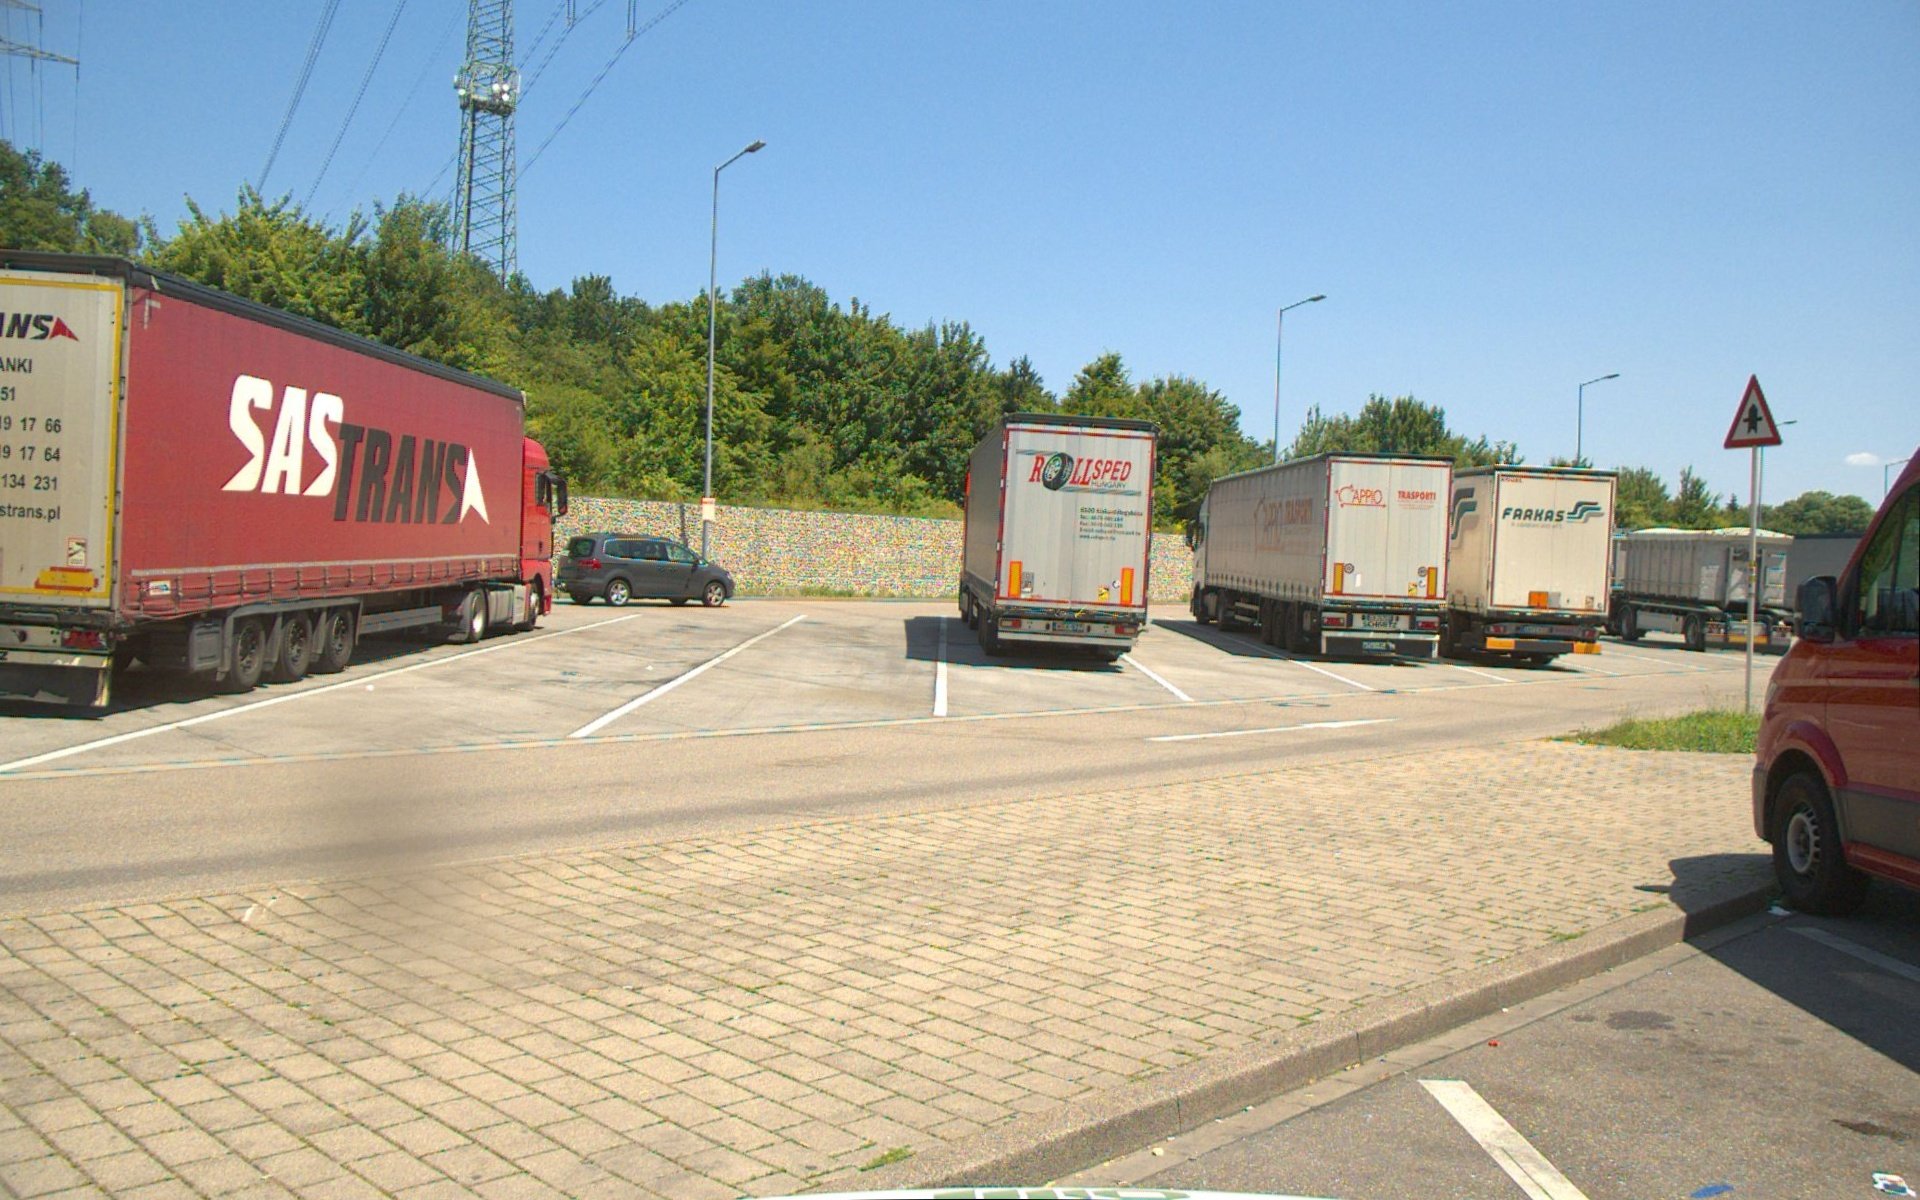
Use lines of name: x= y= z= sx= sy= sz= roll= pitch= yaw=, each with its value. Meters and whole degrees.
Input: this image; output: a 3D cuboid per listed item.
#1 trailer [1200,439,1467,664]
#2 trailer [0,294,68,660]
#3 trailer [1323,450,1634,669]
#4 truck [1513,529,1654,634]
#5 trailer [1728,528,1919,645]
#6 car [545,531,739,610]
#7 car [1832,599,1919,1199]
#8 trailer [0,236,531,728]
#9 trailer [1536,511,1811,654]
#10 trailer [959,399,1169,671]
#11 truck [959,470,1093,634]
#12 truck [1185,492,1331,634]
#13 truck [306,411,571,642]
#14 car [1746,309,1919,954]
trailer: x=8.209 y=-1.148 z=38.798 sx=2.781 sy=4.204 sz=13.722 roll=3 pitch=2 yaw=-1
trailer: x=-12.529 y=-1.331 z=15.677 sx=2.673 sy=4.282 sz=10.170 roll=2 pitch=2 yaw=-1
trailer: x=11.768 y=-1.023 z=39.603 sx=2.781 sy=4.204 sz=13.722 roll=3 pitch=2 yaw=-1
truck: x=22.009 y=-0.719 z=58.680 sx=2.794 sy=3.423 sz=5.484 roll=3 pitch=2 yaw=0
trailer: x=34.941 y=-0.636 z=65.378 sx=2.780 sy=4.119 sz=13.726 roll=3 pitch=2 yaw=1
car: x=-7.926 y=-0.718 z=41.445 sx=4.474 sy=1.737 sz=1.760 roll=1 pitch=3 yaw=-43
car: x=2.589 y=0.805 z=1.128 sx=1.703 sy=1.508 sz=3.813 roll=1 pitch=1 yaw=-6
trailer: x=-8.684 y=-1.317 z=21.159 sx=2.848 sy=4.203 sz=13.723 roll=3 pitch=2 yaw=-1
trailer: x=21.927 y=-0.685 z=52.176 sx=2.780 sy=3.781 sz=13.726 roll=3 pitch=2 yaw=1
trailer: x=1.647 y=-1.246 z=33.211 sx=2.848 sy=4.204 sz=13.720 roll=3 pitch=2 yaw=-1
truck: x=1.480 y=-1.162 z=39.820 sx=2.794 sy=3.544 sz=5.483 roll=3 pitch=2 yaw=-1
truck: x=8.095 y=-1.052 z=45.608 sx=2.794 sy=3.544 sz=5.483 roll=3 pitch=2 yaw=-1
truck: x=-8.796 y=-1.231 z=28.595 sx=2.794 sy=3.487 sz=5.483 roll=3 pitch=2 yaw=-1
car: x=5.002 y=0.171 z=5.531 sx=2.023 sy=2.742 sz=6.397 roll=1 pitch=1 yaw=4
